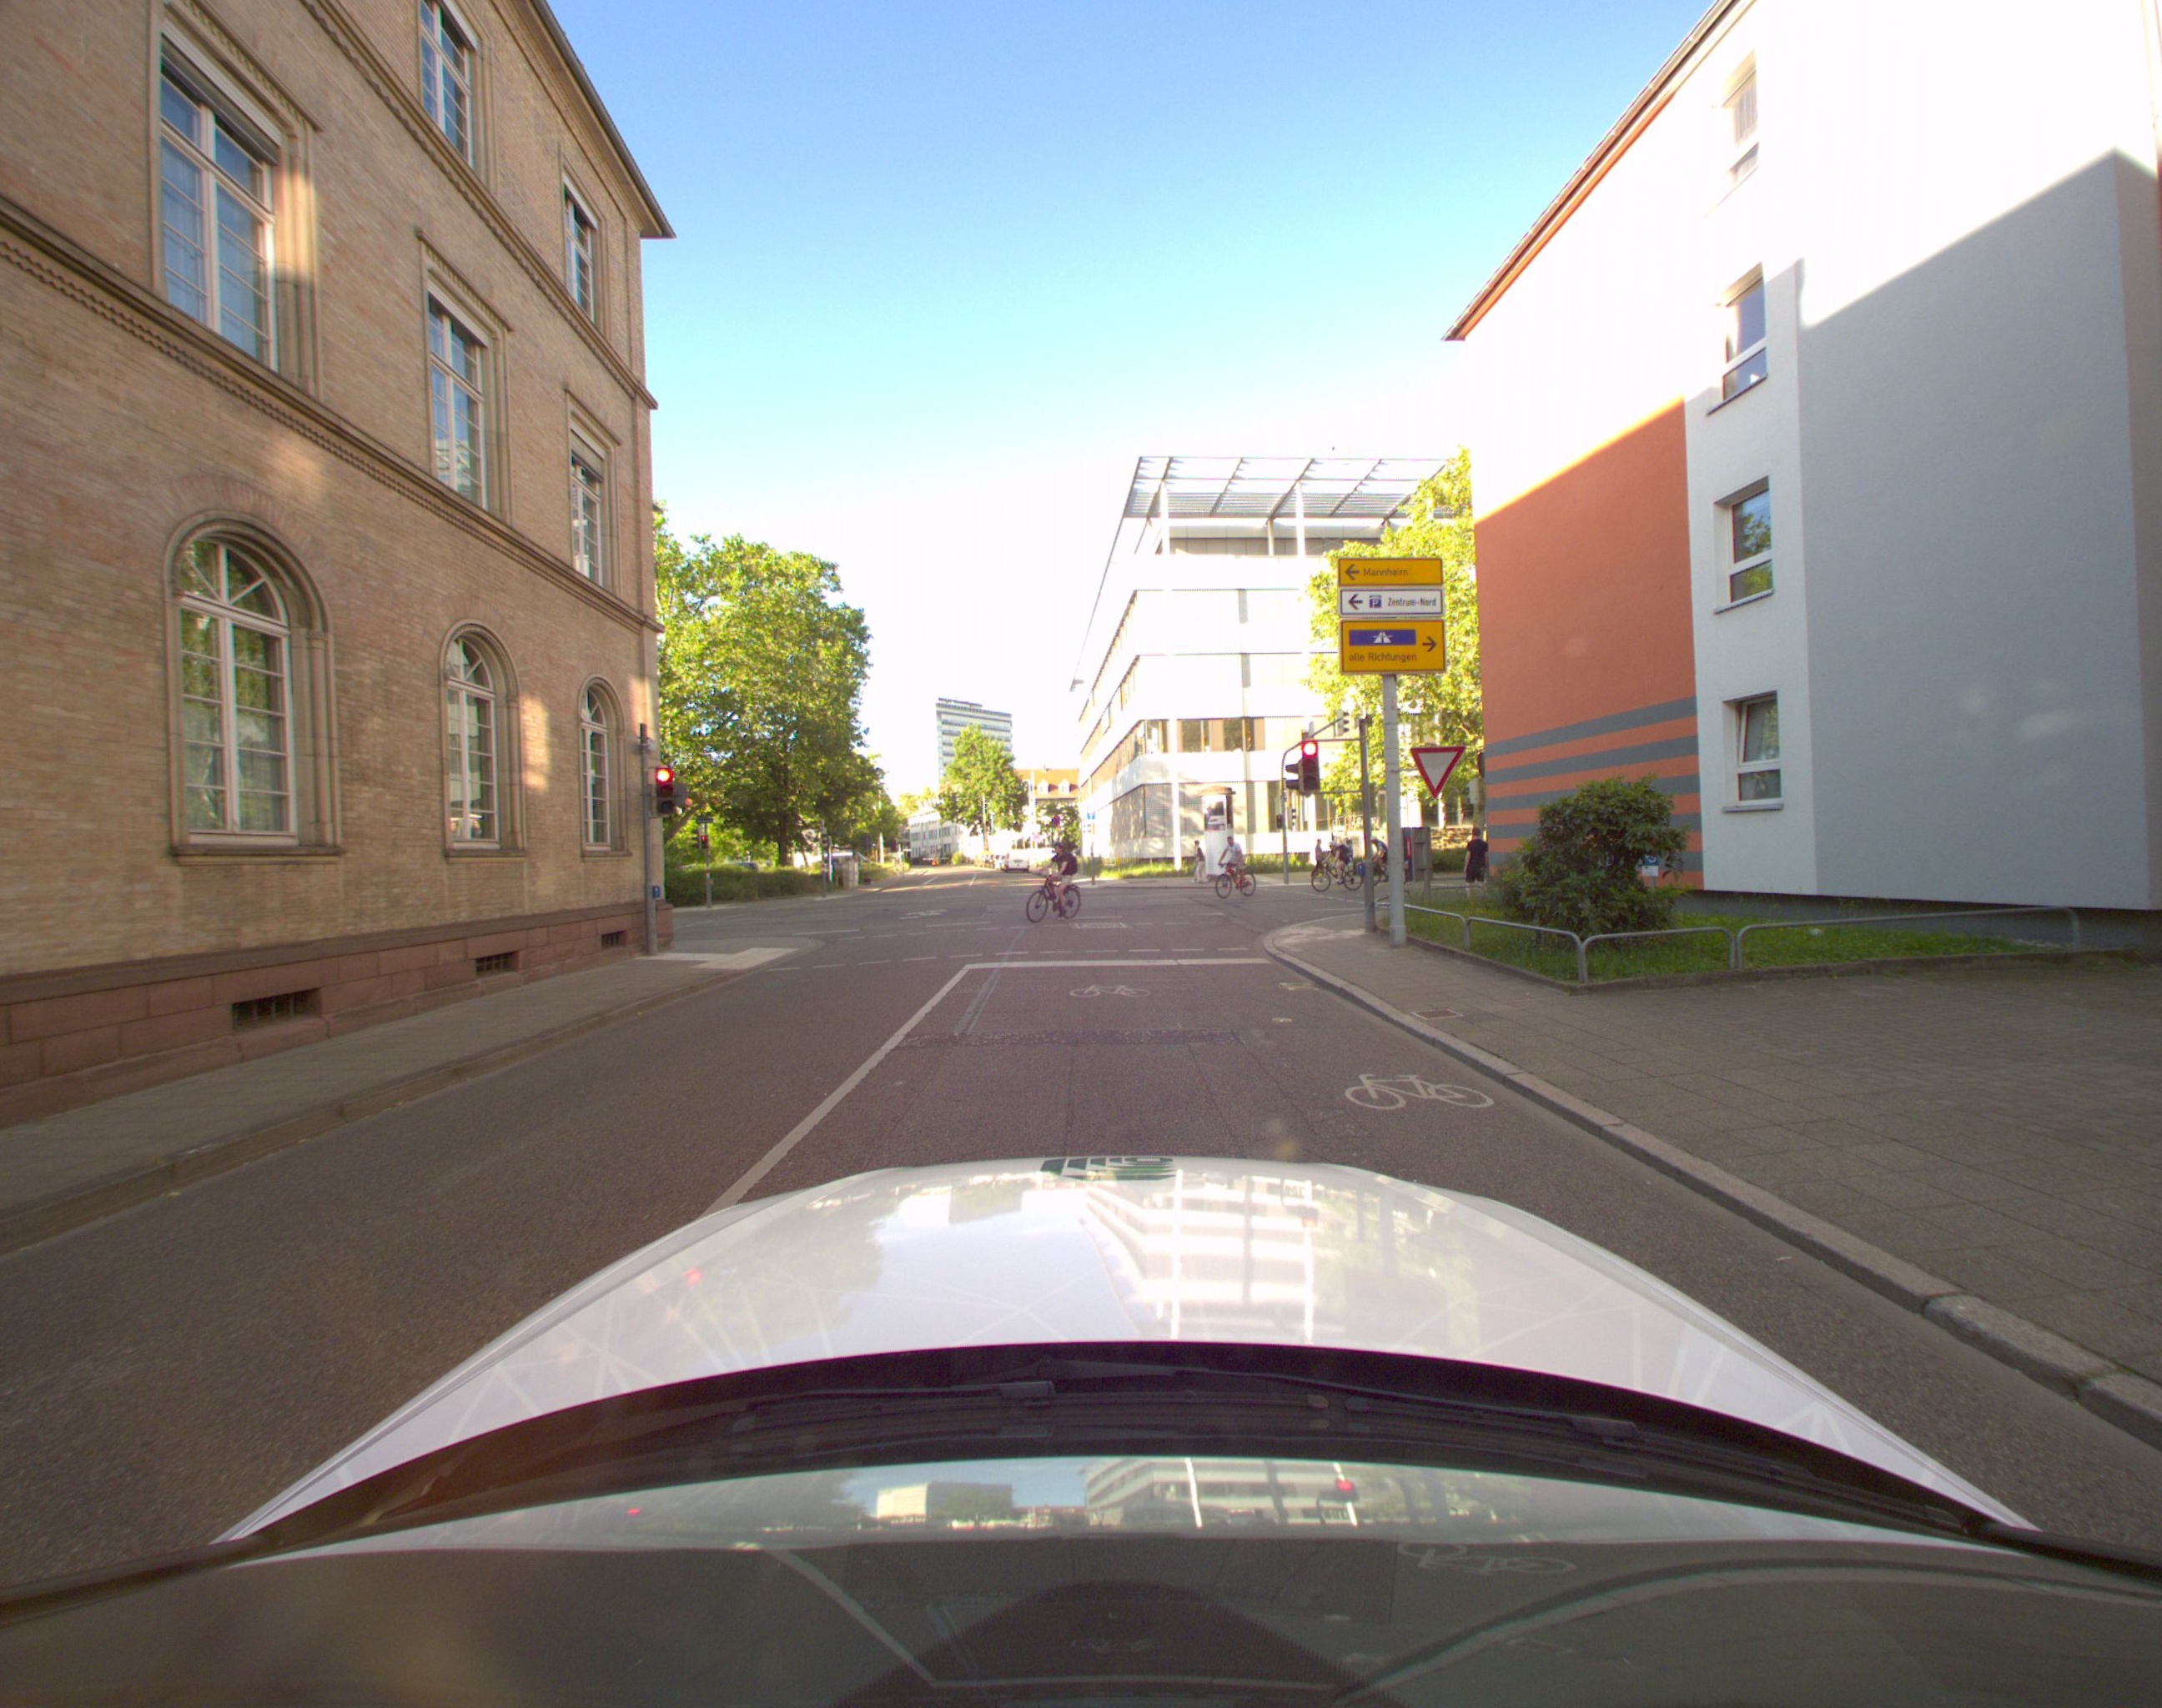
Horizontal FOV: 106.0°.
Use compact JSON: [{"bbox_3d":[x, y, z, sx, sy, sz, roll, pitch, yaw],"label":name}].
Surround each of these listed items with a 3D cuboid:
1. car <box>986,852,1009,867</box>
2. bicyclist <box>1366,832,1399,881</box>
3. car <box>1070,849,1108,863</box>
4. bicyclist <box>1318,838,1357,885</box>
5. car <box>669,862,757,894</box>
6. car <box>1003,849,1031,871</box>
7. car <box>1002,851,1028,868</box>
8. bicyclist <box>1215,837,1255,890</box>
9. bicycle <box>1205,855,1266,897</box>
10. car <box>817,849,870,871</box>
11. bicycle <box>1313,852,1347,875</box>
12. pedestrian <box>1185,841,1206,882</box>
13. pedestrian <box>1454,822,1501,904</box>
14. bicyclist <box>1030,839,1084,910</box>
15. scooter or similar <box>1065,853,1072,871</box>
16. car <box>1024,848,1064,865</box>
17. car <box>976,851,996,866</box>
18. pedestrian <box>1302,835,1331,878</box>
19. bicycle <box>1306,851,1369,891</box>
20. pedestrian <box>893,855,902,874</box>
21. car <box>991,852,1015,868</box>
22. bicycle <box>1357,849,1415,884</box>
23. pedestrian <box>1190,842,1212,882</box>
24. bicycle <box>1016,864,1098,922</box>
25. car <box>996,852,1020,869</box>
[{"bbox_3d":[-8.878,0.610,86.386,1.994,1.499,4.635,0,-1,-10],"label":"car"},{"bbox_3d":[10.469,0.088,28.308,0.822,1.628,0.626,-2,0,-6],"label":"bicyclist"},{"bbox_3d":[1.030,0.280,104.962,4.644,1.725,1.990,0,-1,-15],"label":"car"},{"bbox_3d":[8.103,0.236,25.749,0.970,1.446,0.626,-2,0,-8],"label":"bicyclist"},{"bbox_3d":[-17.079,1.098,37.909,3.407,1.457,1.646,0,-1,-8],"label":"car"},{"bbox_3d":[-5.167,0.480,65.124,1.992,1.725,4.640,0,-1,-7],"label":"car"},{"bbox_3d":[-5.842,0.493,71.359,1.993,1.499,4.638,0,-1,-8],"label":"car"},{"bbox_3d":[4.626,0.282,24.398,0.923,1.522,0.696,-2,0,-39],"label":"bicyclist"},{"bbox_3d":[4.644,0.644,24.387,1.980,1.152,0.620,-2,0,-39],"label":"bicycle"},{"bbox_3d":[-22.019,0.546,75.775,4.441,2.014,1.995,0,-1,-8],"label":"car"},{"bbox_3d":[11.010,0.426,36.032,0.381,1.008,1.416,-2,0,-40],"label":"bicycle"},{"bbox_3d":[5.045,0.322,35.991,0.758,1.795,0.651,-1,-1,24],"label":"pedestrian"},{"bbox_3d":[9.015,0.207,18.521,0.723,1.810,0.693,0,-1,-39],"label":"pedestrian"},{"bbox_3d":[-0.533,0.439,18.274,0.585,1.527,1.085,-2,0,42],"label":"bicyclist"},{"bbox_3d":[-0.908,0.591,58.482,0.436,1.256,1.418,-2,0,-2],"label":"scooter or similar"},{"bbox_3d":[-4.676,0.297,103.255,4.802,2.159,1.989,0,-1,-16],"label":"car"},{"bbox_3d":[-11.294,0.560,96.310,1.995,1.725,4.633,0,-1,-11],"label":"car"},{"bbox_3d":[10.112,0.123,35.028,0.765,1.815,0.907,0,-1,-37],"label":"pedestrian"},{"bbox_3d":[8.099,0.528,25.756,1.777,1.152,0.626,-2,0,-8],"label":"bicycle"},{"bbox_3d":[-15.463,0.901,68.715,0.700,1.587,0.633,0,-1,-14],"label":"pedestrian"},{"bbox_3d":[-7.837,0.603,81.633,1.994,1.499,4.270,0,-1,-11],"label":"car"},{"bbox_3d":[10.612,0.421,28.321,1.776,1.152,0.626,-2,0,-6],"label":"bicycle"},{"bbox_3d":[5.154,0.352,35.053,0.758,1.719,0.651,-1,-1,24],"label":"pedestrian"},{"bbox_3d":[-0.511,0.853,18.266,0.585,1.152,1.982,-2,0,42],"label":"bicycle"},{"bbox_3d":[-6.914,0.625,77.159,1.993,1.499,4.638,0,-1,-8],"label":"car"}]
